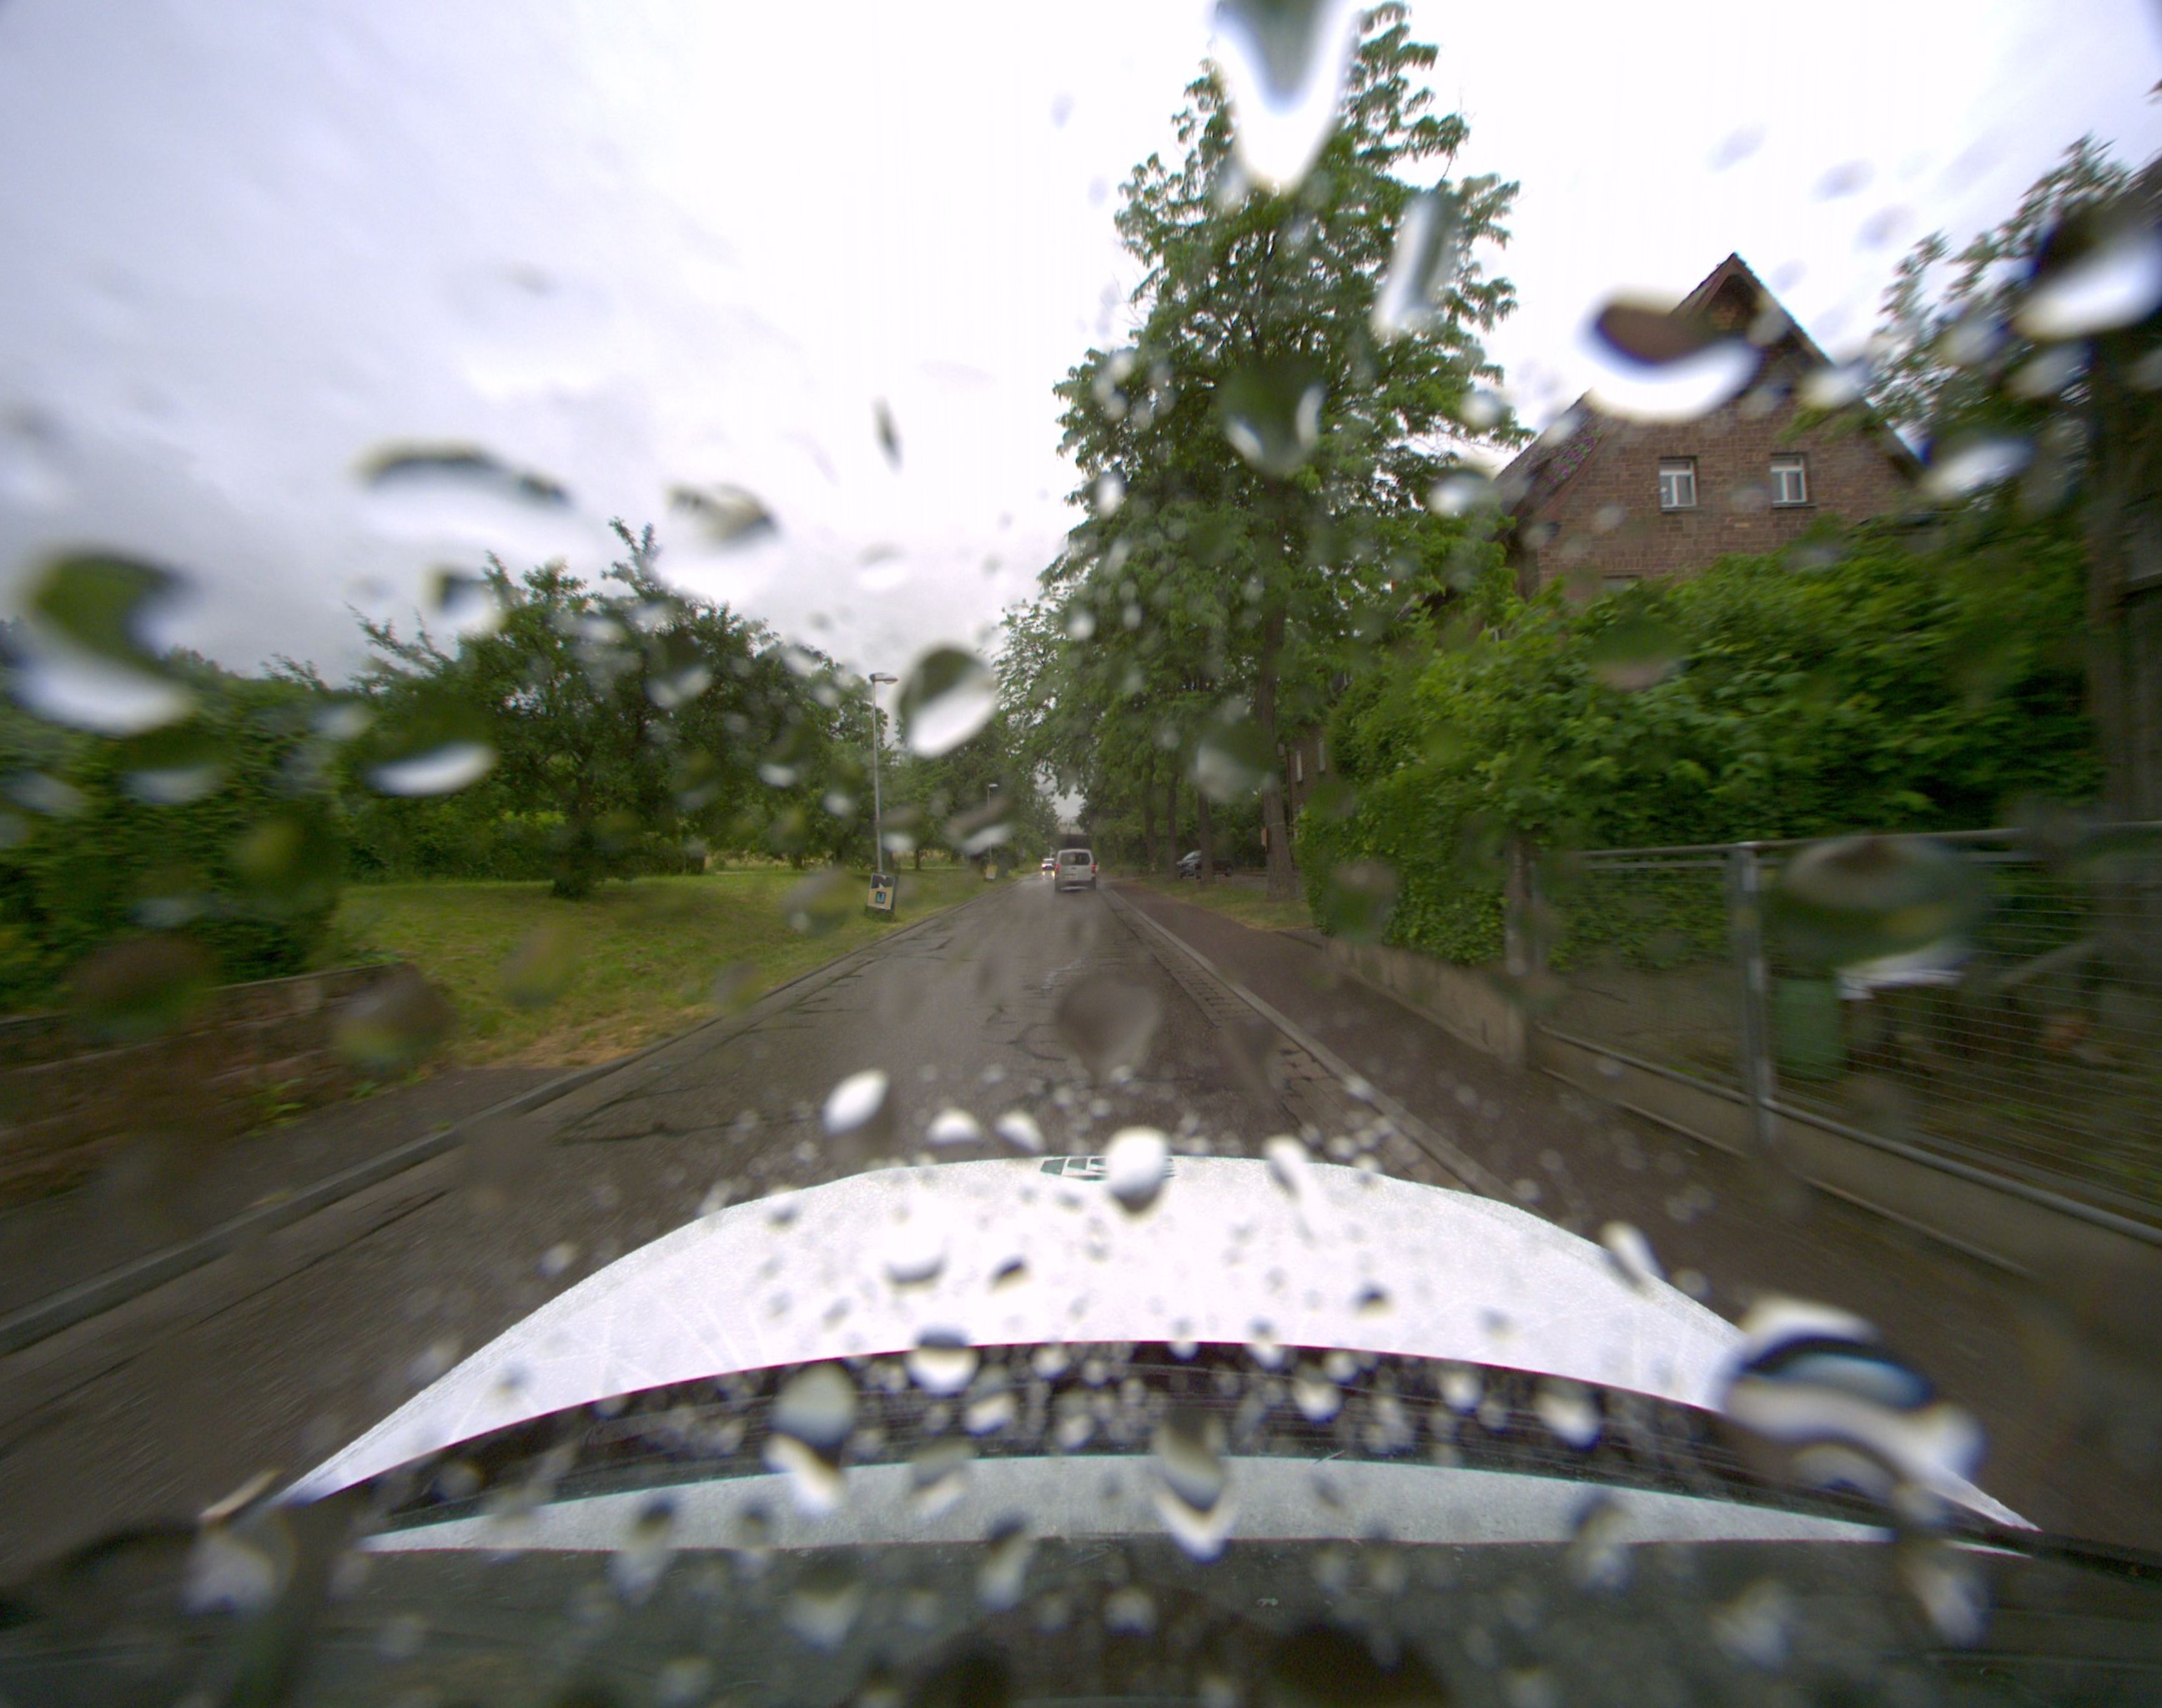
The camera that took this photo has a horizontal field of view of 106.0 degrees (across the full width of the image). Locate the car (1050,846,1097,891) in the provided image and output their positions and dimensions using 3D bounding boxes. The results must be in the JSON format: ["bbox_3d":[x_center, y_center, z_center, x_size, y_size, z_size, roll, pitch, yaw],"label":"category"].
[{"bbox_3d":[-0.309,0.617,36.305,1.891,1.807,3.999,-3,0,0],"label":"car"}]

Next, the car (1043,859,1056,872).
[{"bbox_3d":[-4.533,1.694,118.770,1.819,1.832,4.303,-2,-1,-2],"label":"car"}]

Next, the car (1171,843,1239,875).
[{"bbox_3d":[6.866,0.267,45.027,3.630,1.551,1.603,-2,-1,-37],"label":"car"}]
